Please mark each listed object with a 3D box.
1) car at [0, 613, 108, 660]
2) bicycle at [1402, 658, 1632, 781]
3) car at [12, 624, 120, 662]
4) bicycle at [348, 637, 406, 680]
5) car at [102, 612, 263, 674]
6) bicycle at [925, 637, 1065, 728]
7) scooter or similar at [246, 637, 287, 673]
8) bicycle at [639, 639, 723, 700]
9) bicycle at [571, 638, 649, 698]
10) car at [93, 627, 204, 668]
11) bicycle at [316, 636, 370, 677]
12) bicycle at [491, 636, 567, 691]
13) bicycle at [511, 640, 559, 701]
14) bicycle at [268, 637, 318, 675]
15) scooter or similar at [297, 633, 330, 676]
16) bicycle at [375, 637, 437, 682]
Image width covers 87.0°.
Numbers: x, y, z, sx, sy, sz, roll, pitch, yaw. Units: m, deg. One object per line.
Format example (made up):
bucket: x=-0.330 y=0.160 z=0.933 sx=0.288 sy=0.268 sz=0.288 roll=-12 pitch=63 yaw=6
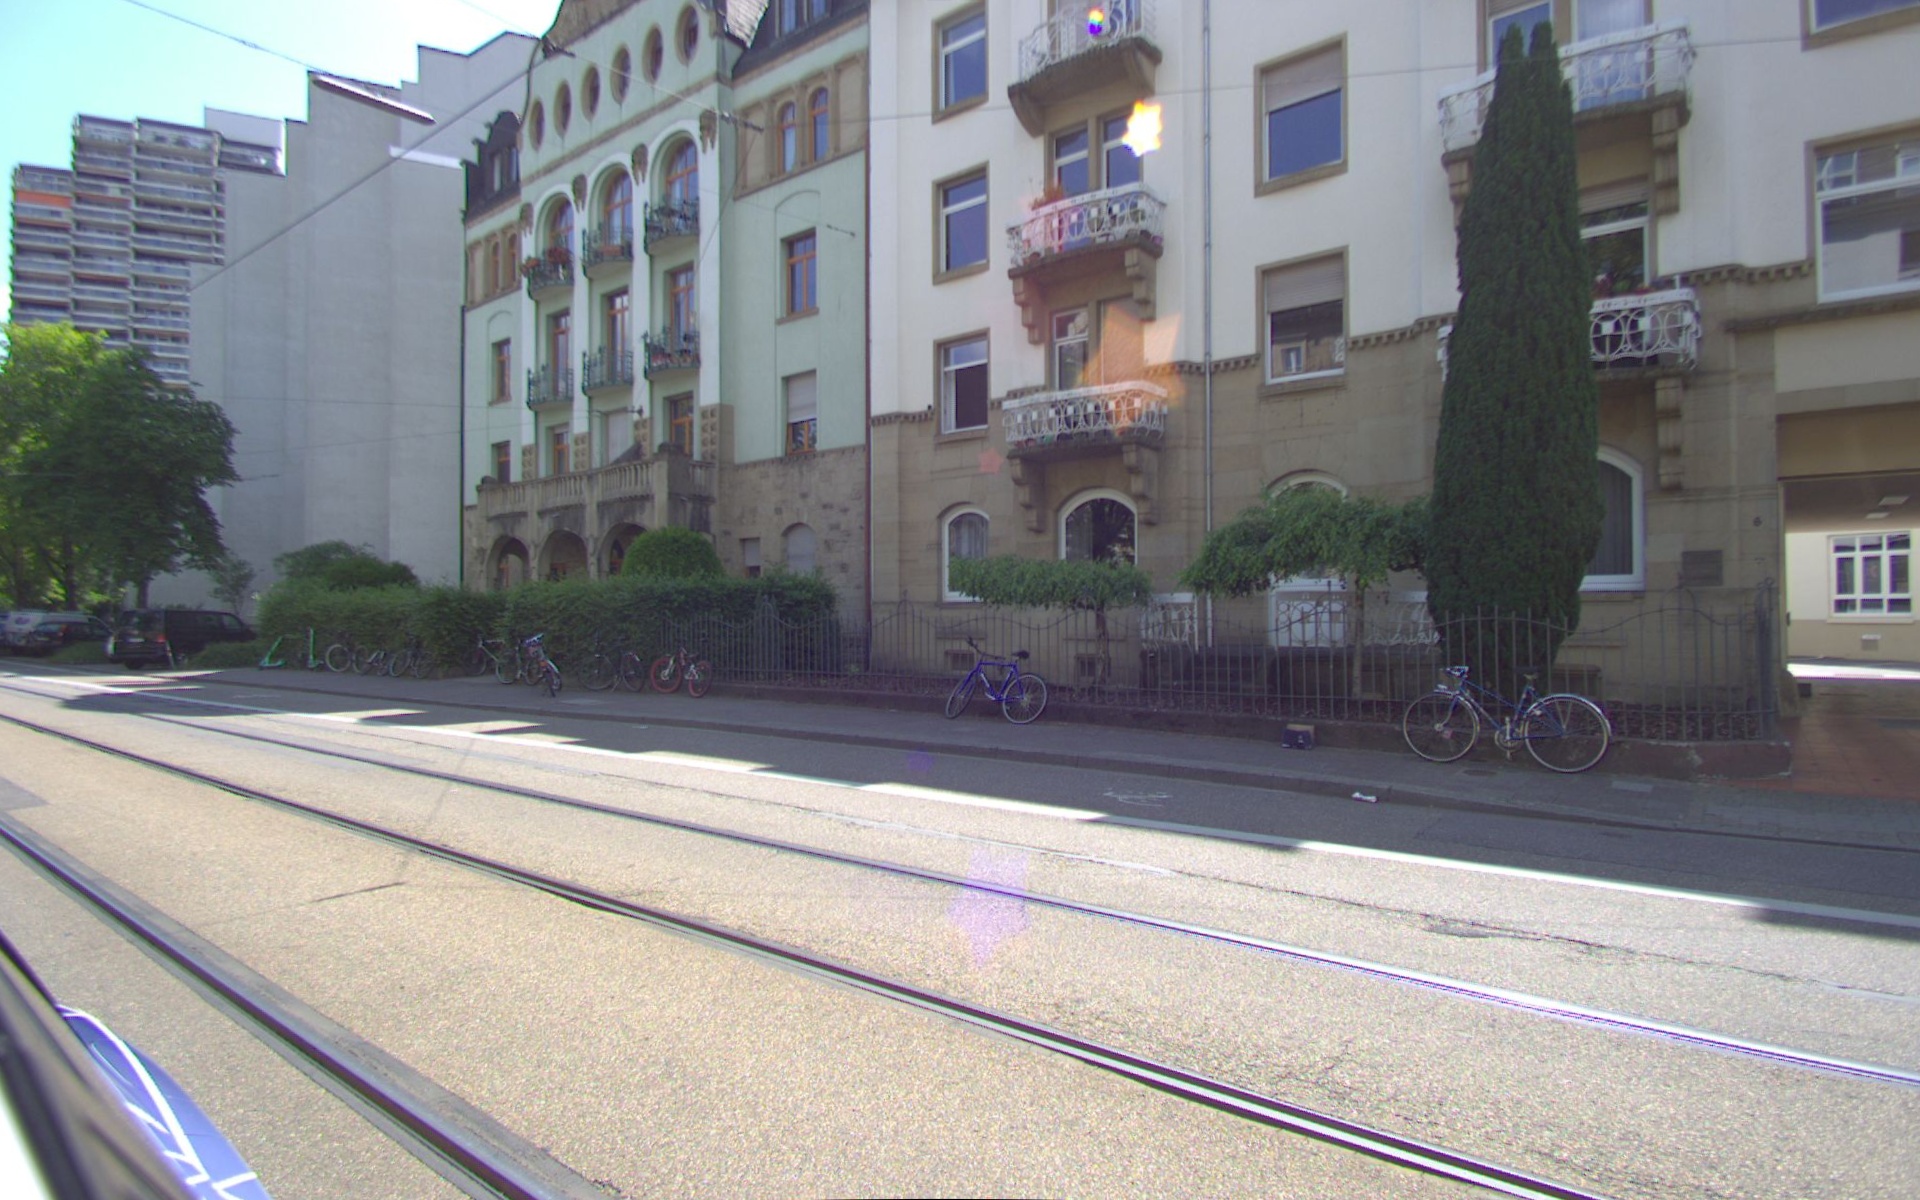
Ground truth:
car: x=-41.727 y=1.662 z=46.674 sx=1.579 sy=2.058 sz=4.054 roll=0 pitch=-1 yaw=-2
bicycle: x=5.161 y=1.071 z=9.459 sx=1.839 sy=0.968 sz=0.406 roll=0 pitch=2 yaw=39
car: x=-39.076 y=1.868 z=44.342 sx=1.657 sy=1.587 sz=3.688 roll=1 pitch=-1 yaw=-4
bicycle: x=-14.393 y=1.430 z=24.958 sx=1.705 sy=0.996 sz=0.602 roll=-2 pitch=2 yaw=38
car: x=-26.325 y=1.424 z=34.515 sx=1.935 sy=1.940 sz=4.584 roll=0 pitch=-1 yaw=1
bicycle: x=0.437 y=1.034 z=13.141 sx=1.769 sy=1.072 sz=0.602 roll=-2 pitch=2 yaw=38
scooter or similar: x=-20.225 y=1.605 z=29.520 sx=1.216 sy=1.028 sz=0.404 roll=-1 pitch=-2 yaw=23
bicycle: x=-4.803 y=1.173 z=17.376 sx=1.723 sy=0.973 sz=0.409 roll=-1 pitch=2 yaw=39
bicycle: x=-6.378 y=1.220 z=18.415 sx=1.706 sy=1.006 sz=0.460 roll=-1 pitch=2 yaw=39
car: x=-31.167 y=1.785 z=38.981 sx=1.699 sy=1.465 sz=3.633 roll=0 pitch=-1 yaw=-8
bicycle: x=-16.070 y=1.453 z=26.347 sx=1.705 sy=0.996 sz=0.602 roll=-2 pitch=2 yaw=38
bicycle: x=-8.783 y=1.267 z=20.609 sx=1.769 sy=1.040 sz=0.602 roll=-2 pitch=2 yaw=38
bicycle: x=-7.673 y=1.252 z=18.332 sx=0.599 sy=1.007 sz=1.780 roll=0 pitch=-2 yaw=-16
bicycle: x=-18.757 y=1.554 z=28.444 sx=1.705 sy=0.996 sz=0.602 roll=-2 pitch=2 yaw=38
scooter or similar: x=-17.540 y=1.463 z=27.445 sx=1.290 sy=1.128 sz=0.401 roll=-2 pitch=-2 yaw=40
bicycle: x=-12.999 y=1.375 z=23.726 sx=1.769 sy=0.983 sz=0.602 roll=-2 pitch=2 yaw=38
